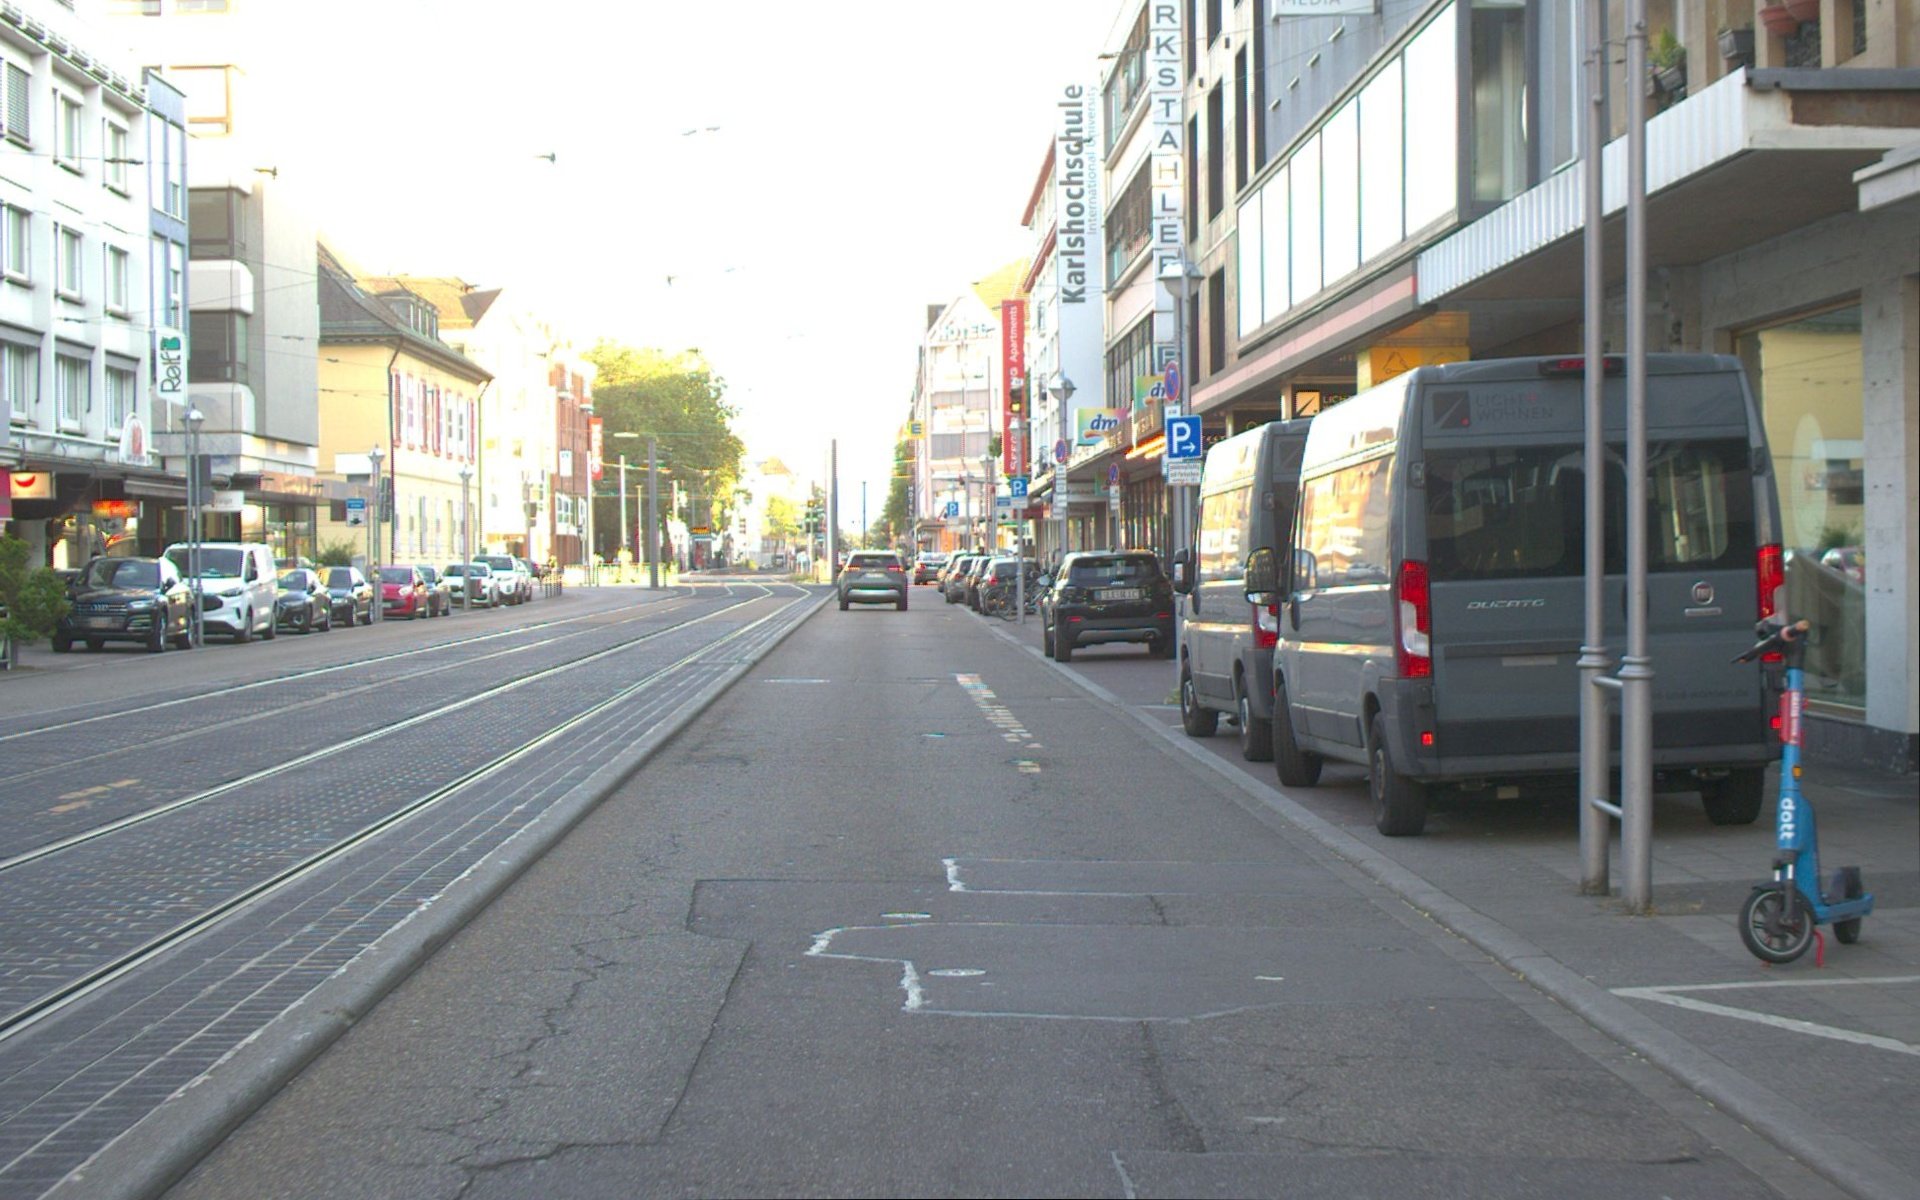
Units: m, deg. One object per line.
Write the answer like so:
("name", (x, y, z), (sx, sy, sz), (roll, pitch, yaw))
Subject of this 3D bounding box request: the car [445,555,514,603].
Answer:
("car", (-15.500, -0.692, 111.034), (1.790, 1.444, 3.892), (2, 1, -2))

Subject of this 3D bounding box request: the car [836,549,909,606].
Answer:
("car", (-2.415, -0.654, 95.739), (1.943, 1.539, 4.545), (0, 1, 0))

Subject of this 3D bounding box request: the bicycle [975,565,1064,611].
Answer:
("bicycle", (1.459, -0.306, 83.944), (2.118, 1.087, 0.592), (-1, 1, -3))

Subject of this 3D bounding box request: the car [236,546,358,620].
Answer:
("car", (-14.662, -0.397, 76.222), (1.917, 1.516, 4.630), (2, 1, -2))

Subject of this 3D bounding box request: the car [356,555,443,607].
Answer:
("car", (-15.073, -0.522, 92.548), (1.790, 1.334, 3.892), (2, 1, -2))

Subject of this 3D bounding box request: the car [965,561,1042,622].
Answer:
("car", (1.171, -0.248, 93.985), (1.944, 1.539, 4.545), (-3, 1, 0))

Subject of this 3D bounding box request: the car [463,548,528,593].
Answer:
("car", (-15.798, -1.025, 117.070), (1.790, 1.444, 3.892), (2, 1, -2))

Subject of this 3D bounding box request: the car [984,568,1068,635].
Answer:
("car", (1.662, 0.018, 87.651), (1.944, 1.539, 4.545), (-3, 1, 0))

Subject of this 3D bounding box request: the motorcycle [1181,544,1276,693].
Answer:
("motorcycle", (2.702, 0.164, 34.464), (0.813, 1.412, 2.004), (-2, 1, 7))

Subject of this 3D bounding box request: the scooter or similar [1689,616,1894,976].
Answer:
("scooter or similar", (3.068, 0.696, 12.638), (0.355, 1.220, 1.113), (-2, 1, 32))

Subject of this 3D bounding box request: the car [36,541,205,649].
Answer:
("car", (-14.717, -0.112, 60.479), (1.917, 1.757, 4.430), (2, 1, -1))

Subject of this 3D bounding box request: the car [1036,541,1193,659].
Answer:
("car", (2.174, -0.033, 49.520), (1.944, 1.539, 4.545), (-3, 1, 0))

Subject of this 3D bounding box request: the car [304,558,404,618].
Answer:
("car", (-14.518, -0.300, 82.522), (1.790, 1.334, 3.892), (2, 1, -2))

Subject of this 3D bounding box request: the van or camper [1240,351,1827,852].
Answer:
("van or camper", (3.139, -0.031, 20.370), (2.188, 2.418, 6.133), (-3, 1, -2))

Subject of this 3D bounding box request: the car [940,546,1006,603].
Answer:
("car", (0.392, -0.825, 109.147), (1.944, 1.697, 4.545), (-3, 1, 0))

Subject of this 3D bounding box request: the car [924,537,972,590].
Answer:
("car", (-0.526, -1.573, 147.629), (1.944, 2.138, 4.545), (-3, 1, 0))

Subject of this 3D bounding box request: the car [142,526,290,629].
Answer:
("car", (-14.722, -0.460, 68.281), (1.917, 1.929, 4.842), (2, 1, -1))

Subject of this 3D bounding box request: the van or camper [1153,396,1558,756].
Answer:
("van or camper", (2.932, -0.203, 26.866), (2.188, 2.418, 5.518), (-3, 1, -3))
